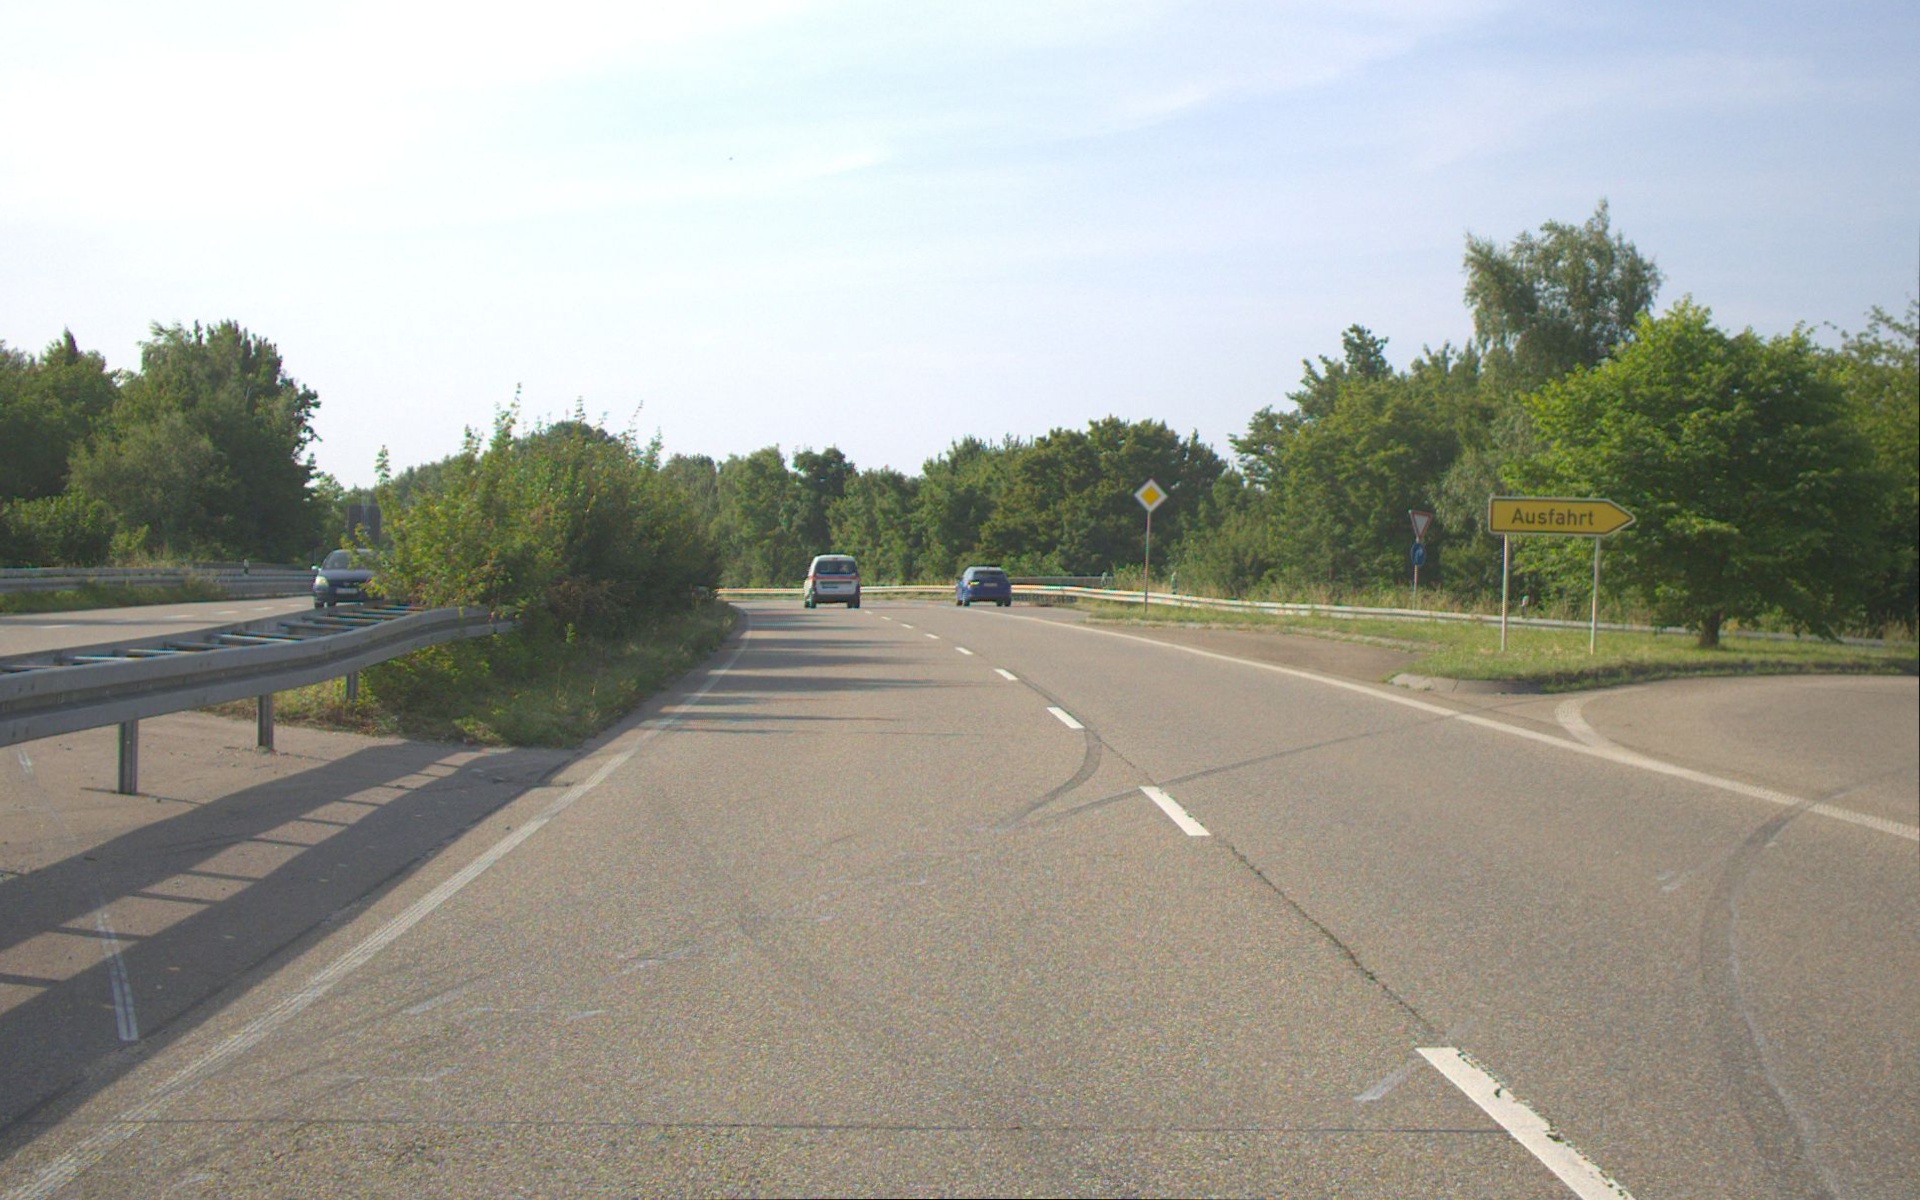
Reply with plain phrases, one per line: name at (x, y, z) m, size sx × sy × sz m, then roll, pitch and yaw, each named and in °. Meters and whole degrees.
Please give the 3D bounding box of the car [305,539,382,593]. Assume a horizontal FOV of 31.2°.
car at (-14.997, -0.819, 83.746) m, size 1.488 × 1.293 × 3.268 m, roll 0°, pitch 0°, yaw -4°

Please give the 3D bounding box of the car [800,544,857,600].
car at (-4.531, -0.937, 118.035) m, size 1.765 × 1.875 × 4.001 m, roll 0°, pitch 0°, yaw -5°

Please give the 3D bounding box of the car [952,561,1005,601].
car at (0.669, -0.695, 128.130) m, size 1.779 × 1.447 × 4.000 m, roll 0°, pitch -1°, yaw -3°
